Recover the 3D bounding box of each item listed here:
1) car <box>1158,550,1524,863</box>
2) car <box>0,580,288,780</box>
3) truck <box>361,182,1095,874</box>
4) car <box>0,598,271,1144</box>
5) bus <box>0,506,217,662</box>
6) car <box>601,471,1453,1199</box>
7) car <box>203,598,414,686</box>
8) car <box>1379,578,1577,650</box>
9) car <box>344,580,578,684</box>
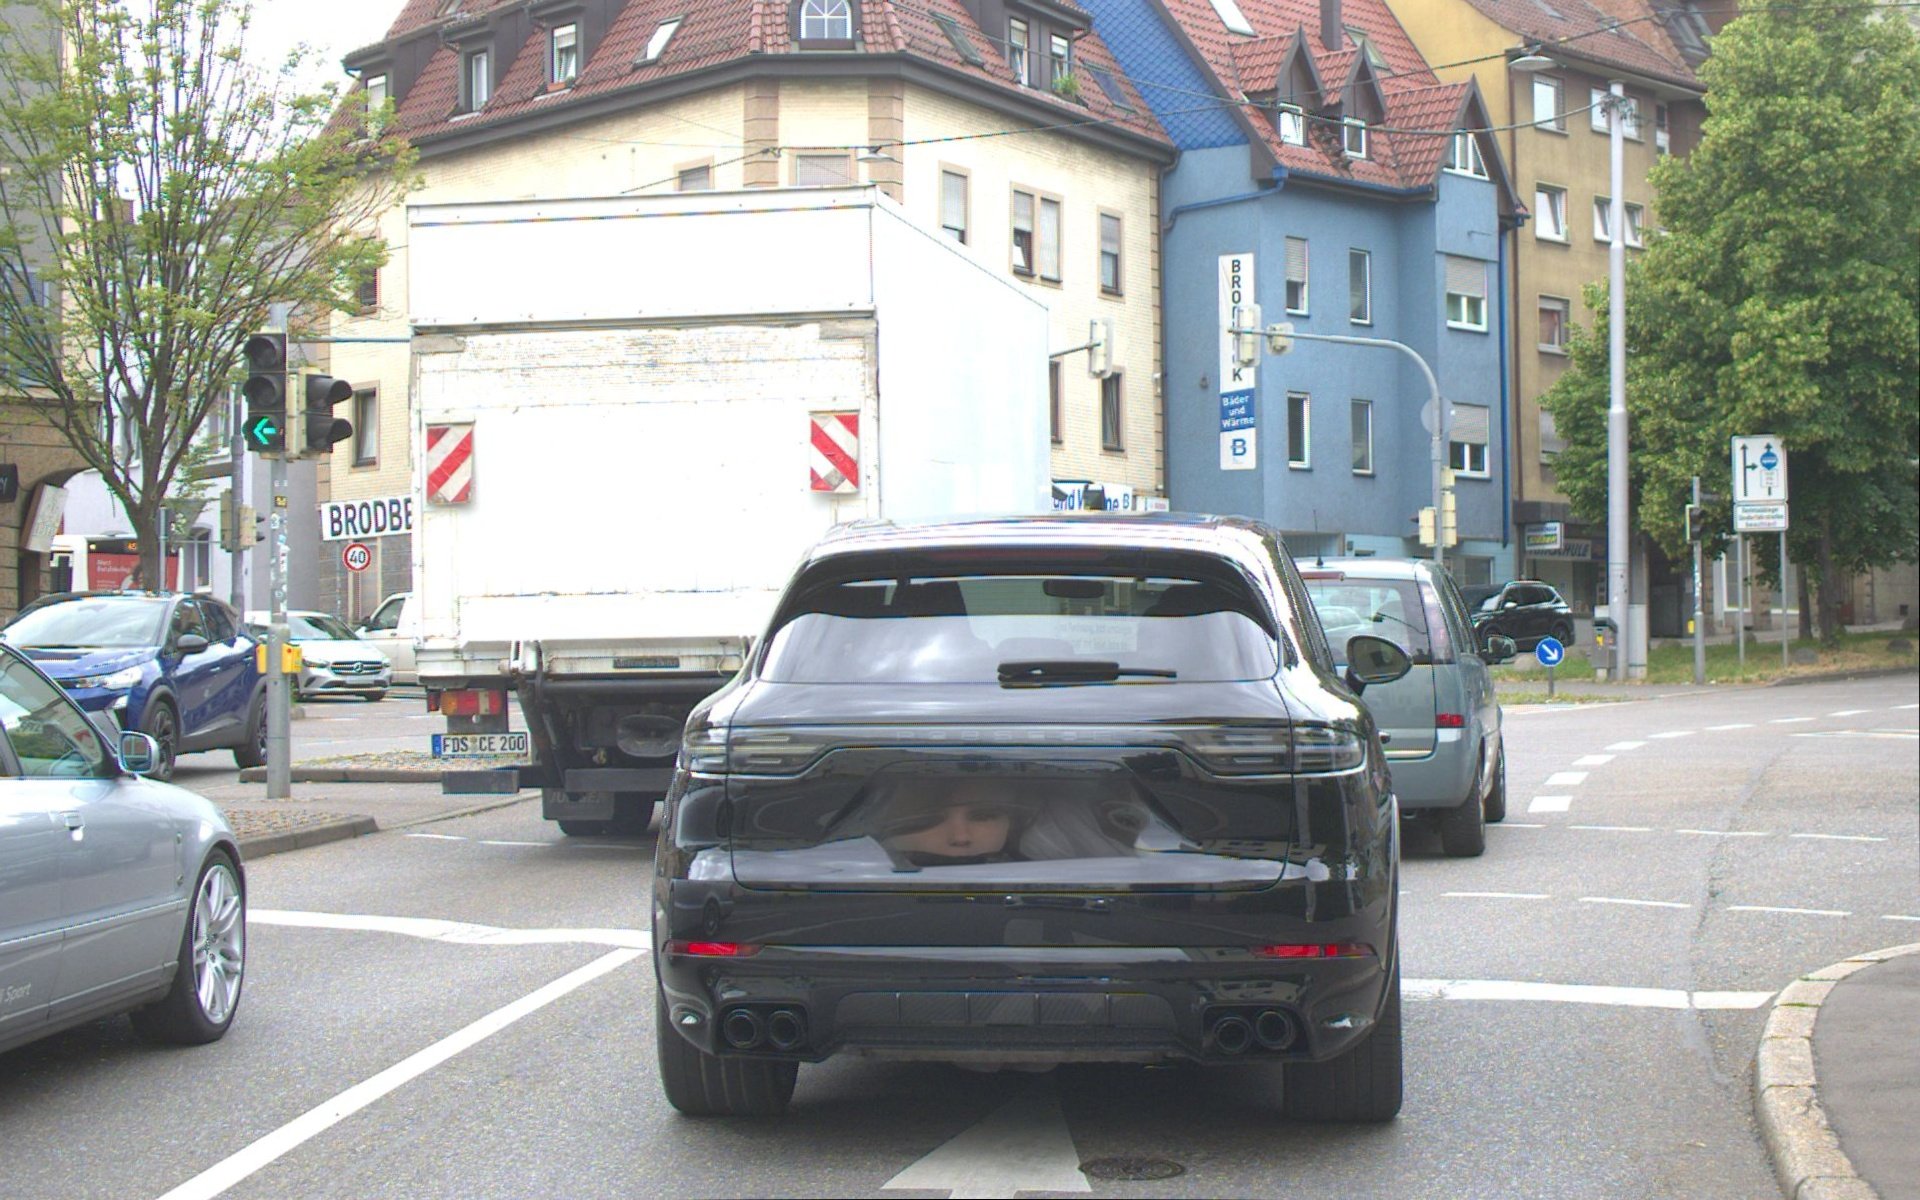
[{"bbox_3d":[2.211,0.541,19.194,1.649,1.550,3.581,1,0,12],"label":"car"},{"bbox_3d":[-6.961,0.606,28.339,1.787,1.526,4.035,0,0,4],"label":"car"},{"bbox_3d":[-1.060,-0.411,21.922,2.726,3.532,8.418,1,0,10],"label":"truck"},{"bbox_3d":[-3.229,0.694,9.241,1.629,1.360,4.127,1,1,4],"label":"car"},{"bbox_3d":[-20.561,-0.322,73.155,12.143,3.085,3.159,0,0,45],"label":"bus"},{"bbox_3d":[0.356,0.531,10.527,2.032,1.717,4.499,1,1,5],"label":"car"},{"bbox_3d":[-11.266,0.747,59.298,1.875,1.465,3.974,1,-2,-40],"label":"car"},{"bbox_3d":[10.665,0.316,70.512,1.874,1.411,4.687,-1,-2,39],"label":"car"},{"bbox_3d":[-9.014,0.560,61.907,2.059,1.793,4.334,-1,0,-43],"label":"car"}]
